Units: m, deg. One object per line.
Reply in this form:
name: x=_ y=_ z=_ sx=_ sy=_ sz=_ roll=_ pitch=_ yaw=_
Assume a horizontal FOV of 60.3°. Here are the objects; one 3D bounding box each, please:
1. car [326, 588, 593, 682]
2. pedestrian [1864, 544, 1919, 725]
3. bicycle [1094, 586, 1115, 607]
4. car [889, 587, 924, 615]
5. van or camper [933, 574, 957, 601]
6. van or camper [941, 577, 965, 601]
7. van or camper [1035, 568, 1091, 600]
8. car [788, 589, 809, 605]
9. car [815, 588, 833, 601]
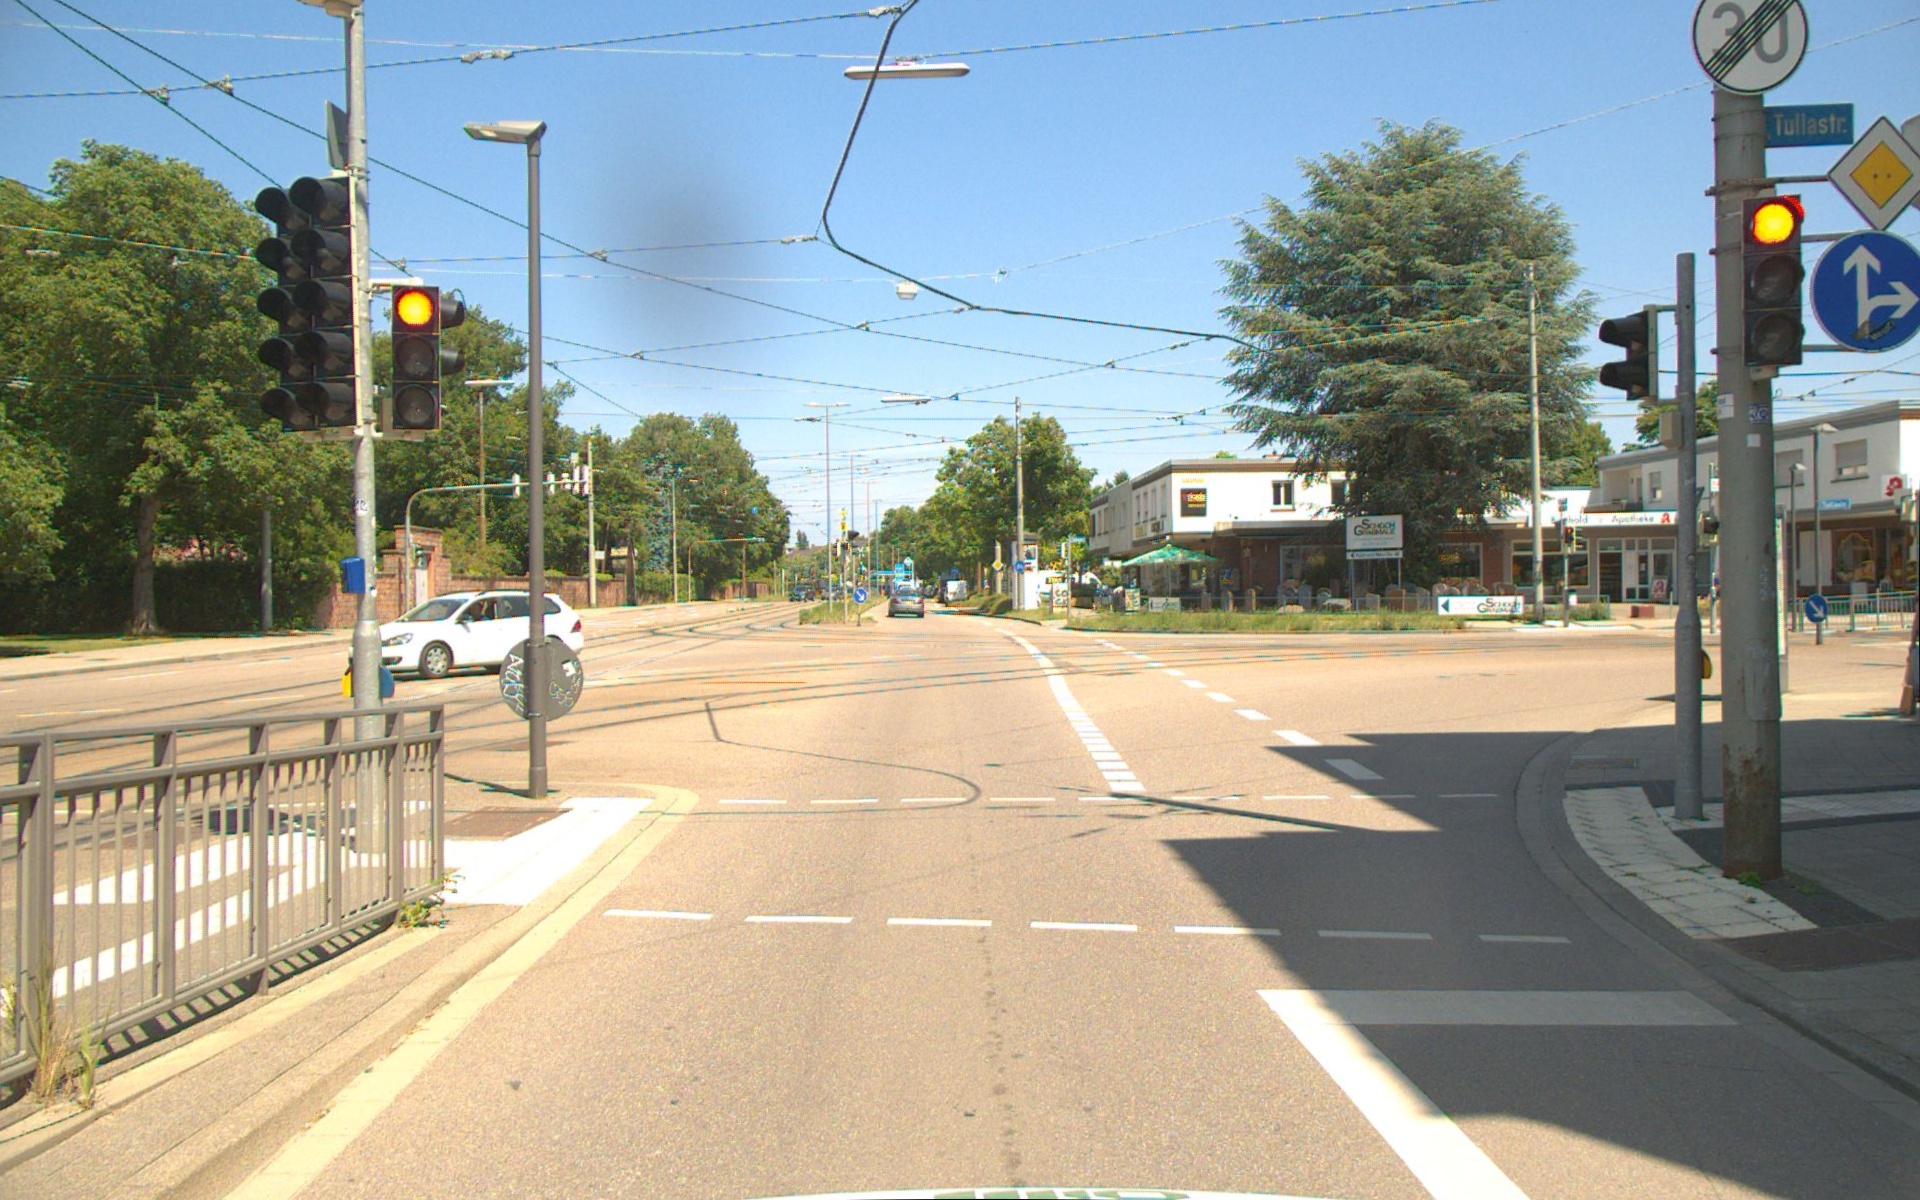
car: x=-8.895 y=0.568 z=29.748 sx=1.786 sy=1.516 sz=4.485 roll=0 pitch=1 yaw=34
pedestrian: x=8.952 y=0.283 z=15.155 sx=0.809 sy=1.611 sz=0.827 roll=-4 pitch=0 yaw=5
bicycle: x=7.389 y=-0.181 z=84.614 sx=1.012 sy=1.032 sz=2.639 roll=-1 pitch=0 yaw=5
car: x=-2.776 y=0.020 z=84.936 sx=1.605 sy=1.375 sz=3.838 roll=-1 pitch=0 yaw=-4
van or camper: x=-1.387 y=-1.151 z=152.831 sx=1.954 sy=2.507 sz=3.997 roll=-1 pitch=0 yaw=-4
van or camper: x=-0.571 y=-0.852 z=130.373 sx=1.883 sy=1.803 sz=3.999 roll=-1 pitch=0 yaw=-1
van or camper: x=8.934 y=-1.386 z=143.544 sx=4.662 sy=2.717 sz=2.134 roll=-1 pitch=0 yaw=-3
car: x=-17.028 y=-0.299 z=174.529 sx=1.783 sy=1.631 sz=4.519 roll=-1 pitch=0 yaw=-1
car: x=-15.205 y=-0.653 z=185.667 sx=1.607 sy=1.445 sz=4.168 roll=-1 pitch=0 yaw=1
